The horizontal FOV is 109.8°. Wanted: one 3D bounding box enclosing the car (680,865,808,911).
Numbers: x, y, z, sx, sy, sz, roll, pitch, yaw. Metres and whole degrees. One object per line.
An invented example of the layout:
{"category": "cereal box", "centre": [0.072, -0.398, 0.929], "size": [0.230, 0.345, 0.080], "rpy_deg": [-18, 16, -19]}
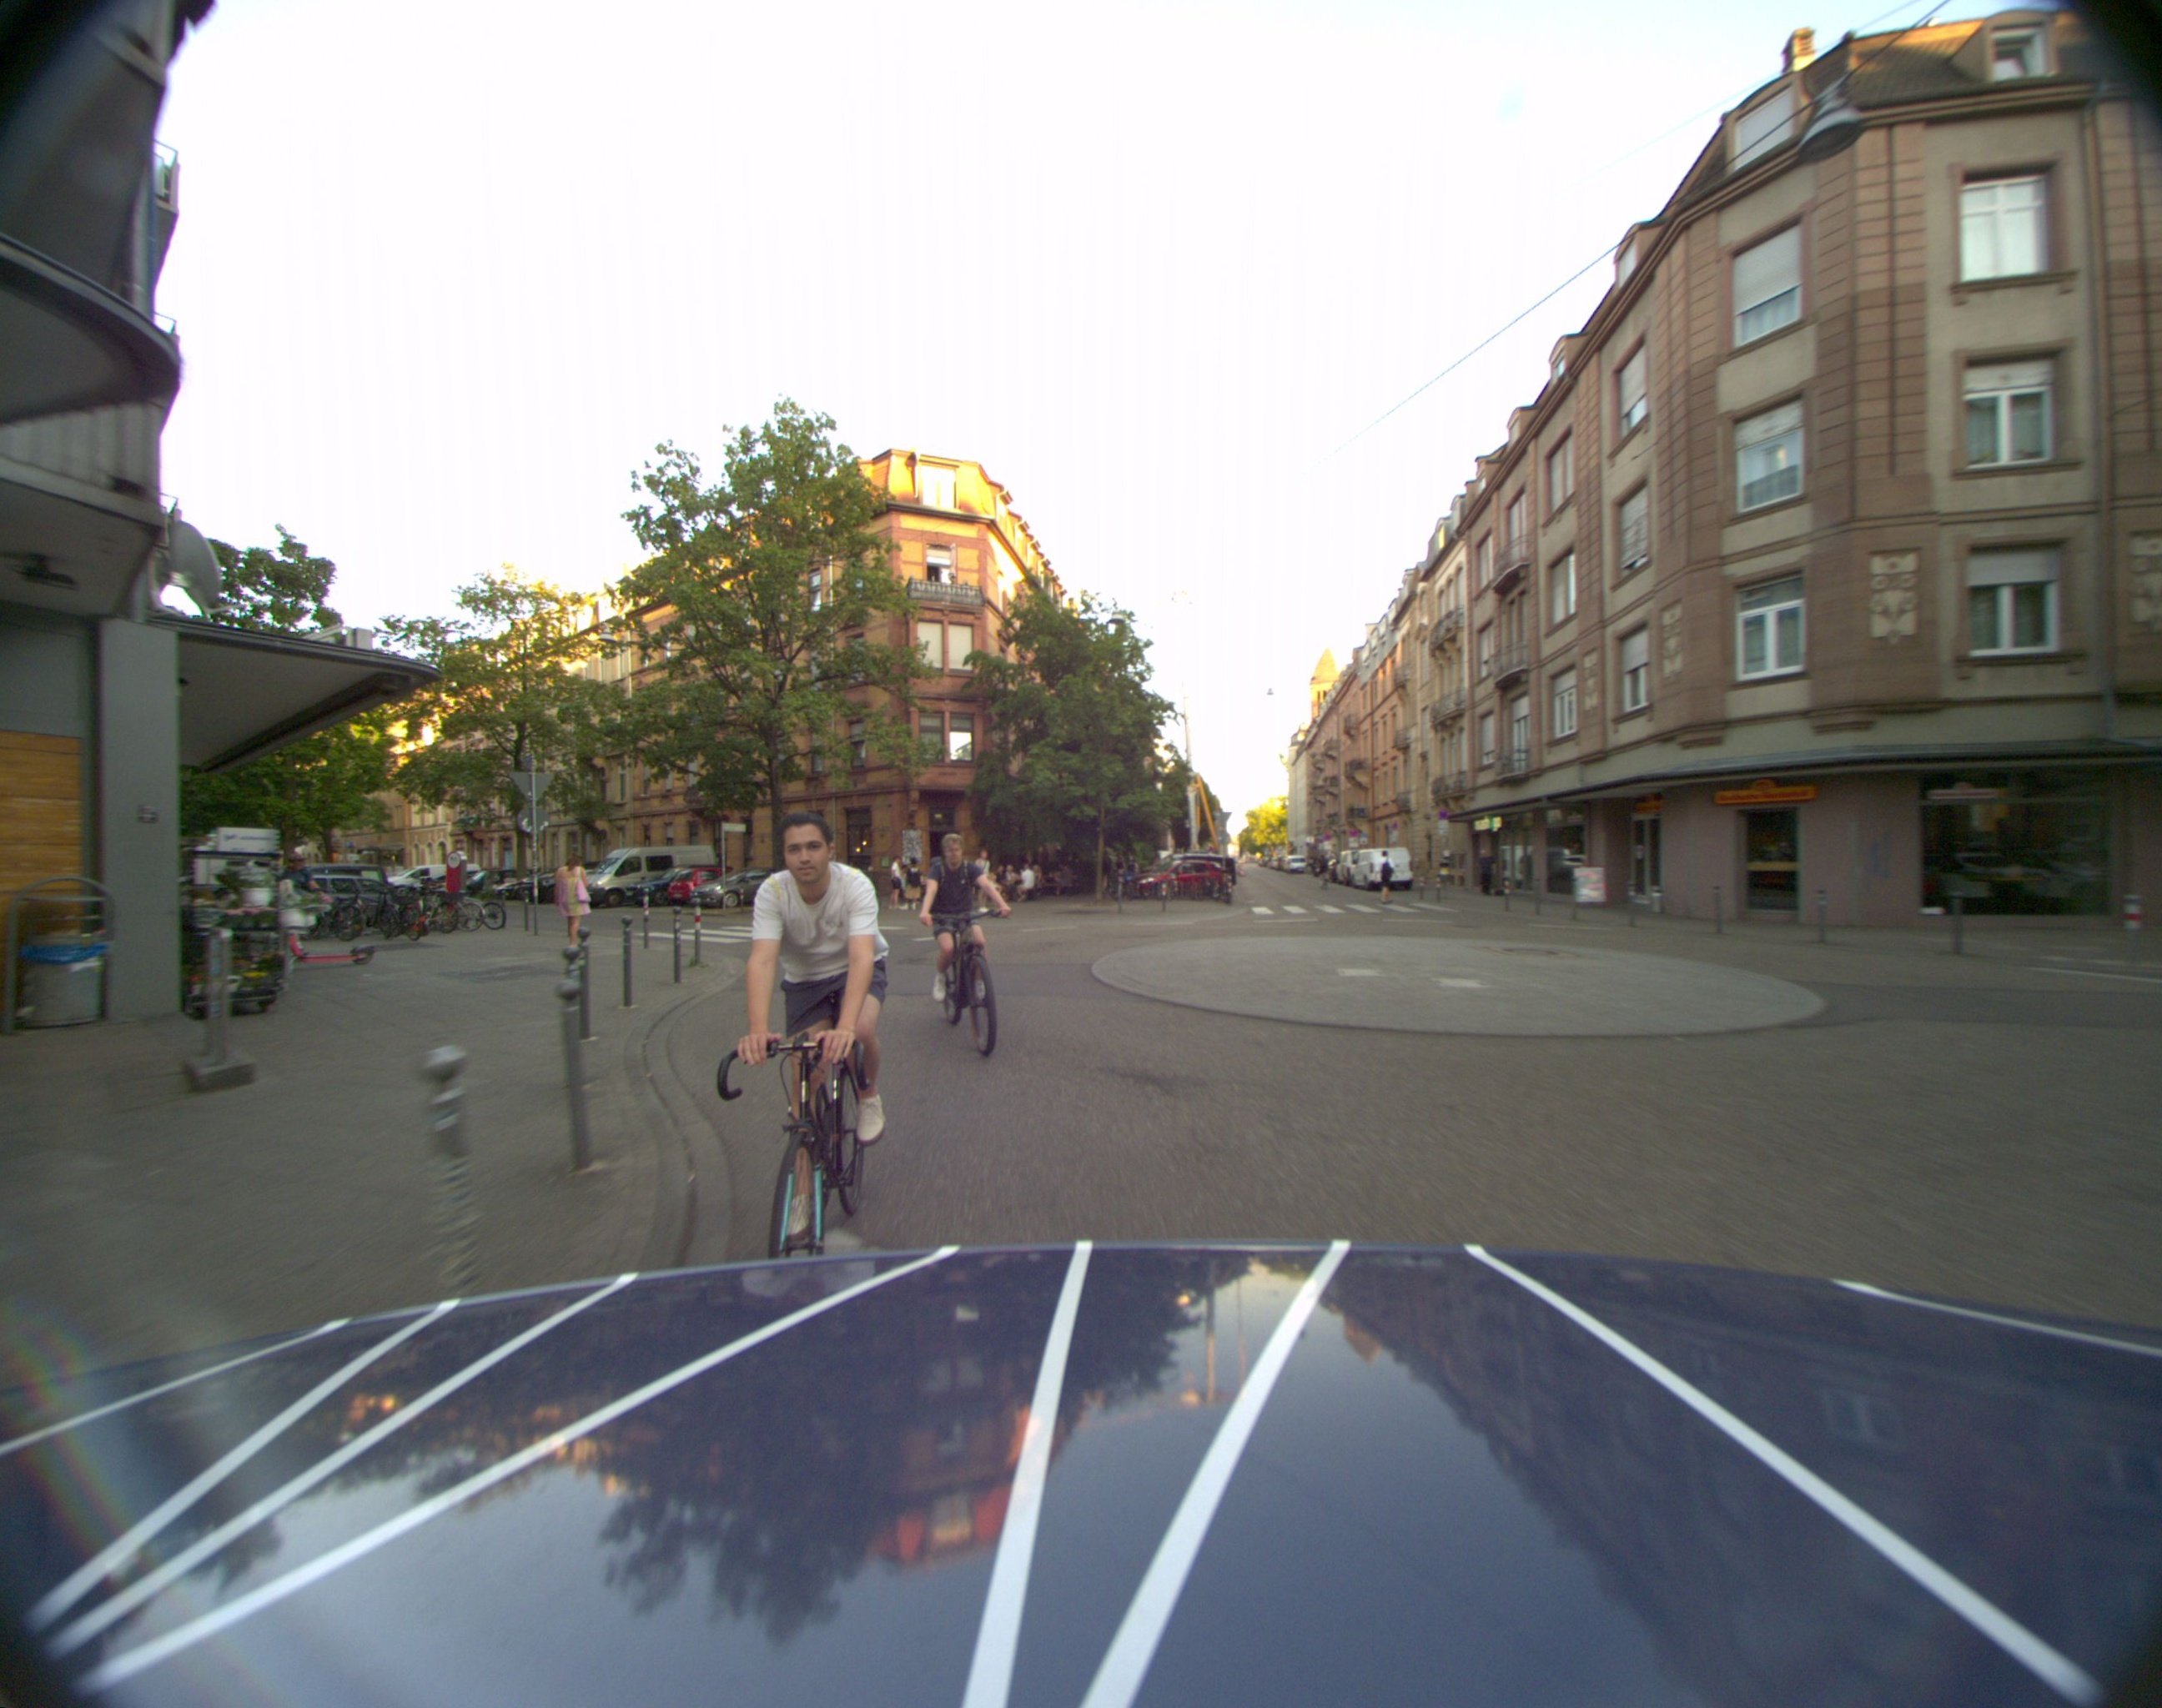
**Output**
{"category": "car", "centre": [-12.287, 1.194, 27.955], "size": [1.623, 1.412, 3.983], "rpy_deg": [-1, 1, 36]}

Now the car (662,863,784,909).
{"category": "car", "centre": [-13.945, 1.204, 29.826], "size": [1.623, 1.494, 3.983], "rpy_deg": [-1, 1, 36]}

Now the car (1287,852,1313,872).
{"category": "car", "centre": [21.870, 0.785, 76.063], "size": [2.139, 1.811, 4.544], "rpy_deg": [-1, 0, 11]}

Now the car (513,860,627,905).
{"category": "car", "centre": [-23.856, 1.274, 35.587], "size": [1.846, 1.814, 3.983], "rpy_deg": [-1, 1, 36]}

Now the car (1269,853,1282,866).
{"category": "car", "centre": [29.548, 0.797, 115.537], "size": [1.906, 1.729, 3.853], "rpy_deg": [-1, 1, 14]}

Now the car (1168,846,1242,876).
{"category": "car", "centre": [9.736, 0.524, 59.834], "size": [5.149, 2.182, 2.335], "rpy_deg": [-2, 1, -14]}

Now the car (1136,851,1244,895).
{"category": "car", "centre": [5.700, 0.953, 39.946], "size": [5.149, 2.085, 2.114], "rpy_deg": [-2, 1, -14]}

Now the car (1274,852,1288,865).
{"category": "car", "centre": [28.941, 0.653, 109.974], "size": [1.866, 1.729, 3.803], "rpy_deg": [-1, 1, 14]}

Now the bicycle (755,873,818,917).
{"category": "bicycle", "centre": [-9.322, 1.278, 24.146], "size": [0.711, 1.232, 1.887], "rpy_deg": [-1, 1, 22]}

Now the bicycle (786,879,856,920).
{"category": "bicycle", "centre": [-7.805, 1.343, 22.895], "size": [0.710, 1.052, 1.888], "rpy_deg": [-1, 1, 38]}

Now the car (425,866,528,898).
{"category": "car", "centre": [-33.468, 1.536, 42.171], "size": [1.846, 1.528, 3.983], "rpy_deg": [-1, 1, 30]}

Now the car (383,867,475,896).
{"category": "car", "centre": [-39.923, 1.657, 46.607], "size": [1.729, 1.528, 3.876], "rpy_deg": [-1, 1, 30]}

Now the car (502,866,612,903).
{"category": "car", "centre": [-25.720, 1.459, 37.436], "size": [1.846, 1.528, 3.983], "rpy_deg": [-1, 1, 30]}

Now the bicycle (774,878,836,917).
{"category": "bicycle", "centre": [-8.722, 1.353, 24.099], "size": [0.711, 1.072, 1.887], "rpy_deg": [-1, 1, 22]}

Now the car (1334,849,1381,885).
{"category": "car", "centre": [15.299, 0.676, 42.239], "size": [1.877, 1.892, 4.330], "rpy_deg": [-1, 0, 12]}

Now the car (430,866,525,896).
{"category": "car", "centre": [-35.083, 1.551, 44.263], "size": [1.729, 1.528, 3.876], "rpy_deg": [-1, 1, 30]}

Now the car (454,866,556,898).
{"category": "car", "centre": [-31.326, 1.484, 41.461], "size": [1.846, 1.528, 3.983], "rpy_deg": [-1, 1, 30]}

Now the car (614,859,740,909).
{"category": "car", "centre": [-16.104, 1.151, 30.462], "size": [1.759, 1.653, 3.983], "rpy_deg": [-1, 2, 36]}

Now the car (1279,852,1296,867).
{"category": "car", "centre": [25.769, 0.618, 94.995], "size": [1.996, 1.729, 4.003], "rpy_deg": [-1, 1, 14]}

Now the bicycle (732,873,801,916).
{"category": "bicycle", "centre": [-10.117, 1.276, 24.510], "size": [0.710, 1.232, 1.888], "rpy_deg": [0, 2, 43]}

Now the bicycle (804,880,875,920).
{"category": "bicycle", "centre": [-7.140, 1.342, 22.542], "size": [0.710, 1.045, 1.888], "rpy_deg": [-1, 1, 38]}

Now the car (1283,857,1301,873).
{"category": "car", "centre": [23.940, 1.264, 86.297], "size": [1.838, 1.633, 3.928], "rpy_deg": [-1, 1, 14]}

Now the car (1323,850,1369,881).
{"category": "car", "centre": [16.662, 0.689, 48.006], "size": [2.139, 1.811, 4.544], "rpy_deg": [-1, 0, 12]}

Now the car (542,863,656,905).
{"category": "car", "centre": [-21.964, 1.307, 34.766], "size": [1.759, 1.653, 3.983], "rpy_deg": [-1, 1, 36]}

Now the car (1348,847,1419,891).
{"category": "car", "centre": [14.351, 0.662, 36.325], "size": [2.139, 1.946, 4.773], "rpy_deg": [-2, 0, 10]}

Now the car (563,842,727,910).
{"category": "car", "centre": [-18.187, 0.809, 31.993], "size": [2.115, 2.443, 5.498], "rpy_deg": [-1, 2, 33]}

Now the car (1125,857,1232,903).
{"category": "car", "centre": [4.070, 1.053, 31.724], "size": [4.003, 1.658, 1.825], "rpy_deg": [-2, 1, -20]}

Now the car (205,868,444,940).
{"category": "car", "centre": [-19.472, 1.193, 19.911], "size": [1.792, 1.479, 4.449], "rpy_deg": [-2, 1, -1]}

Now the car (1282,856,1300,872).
{"category": "car", "centre": [24.924, 1.125, 90.257], "size": [1.996, 1.729, 4.003], "rpy_deg": [-1, 1, 14]}

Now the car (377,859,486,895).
{"category": "car", "centre": [-41.790, 1.438, 49.008], "size": [2.197, 2.000, 4.858], "rpy_deg": [-1, 1, 32]}

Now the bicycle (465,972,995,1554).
{"category": "bicycle", "centre": [-0.969, 1.101, 2.754], "size": [0.657, 1.012, 1.919], "rpy_deg": [-1, 1, 13]}

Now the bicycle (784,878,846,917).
{"category": "bicycle", "centre": [-8.268, 1.343, 23.726], "size": [0.711, 1.072, 1.887], "rpy_deg": [-1, 1, 22]}

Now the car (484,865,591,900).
{"category": "car", "centre": [-27.714, 1.417, 38.888], "size": [1.846, 1.528, 3.983], "rpy_deg": [-1, 1, 30]}

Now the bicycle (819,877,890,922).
{"category": "bicycle", "centre": [-6.563, 1.288, 22.129], "size": [0.710, 1.148, 1.888], "rpy_deg": [-1, 1, 38]}

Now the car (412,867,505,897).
{"category": "car", "centre": [-36.998, 1.623, 45.252], "size": [1.729, 1.528, 3.876], "rpy_deg": [-1, 1, 30]}
